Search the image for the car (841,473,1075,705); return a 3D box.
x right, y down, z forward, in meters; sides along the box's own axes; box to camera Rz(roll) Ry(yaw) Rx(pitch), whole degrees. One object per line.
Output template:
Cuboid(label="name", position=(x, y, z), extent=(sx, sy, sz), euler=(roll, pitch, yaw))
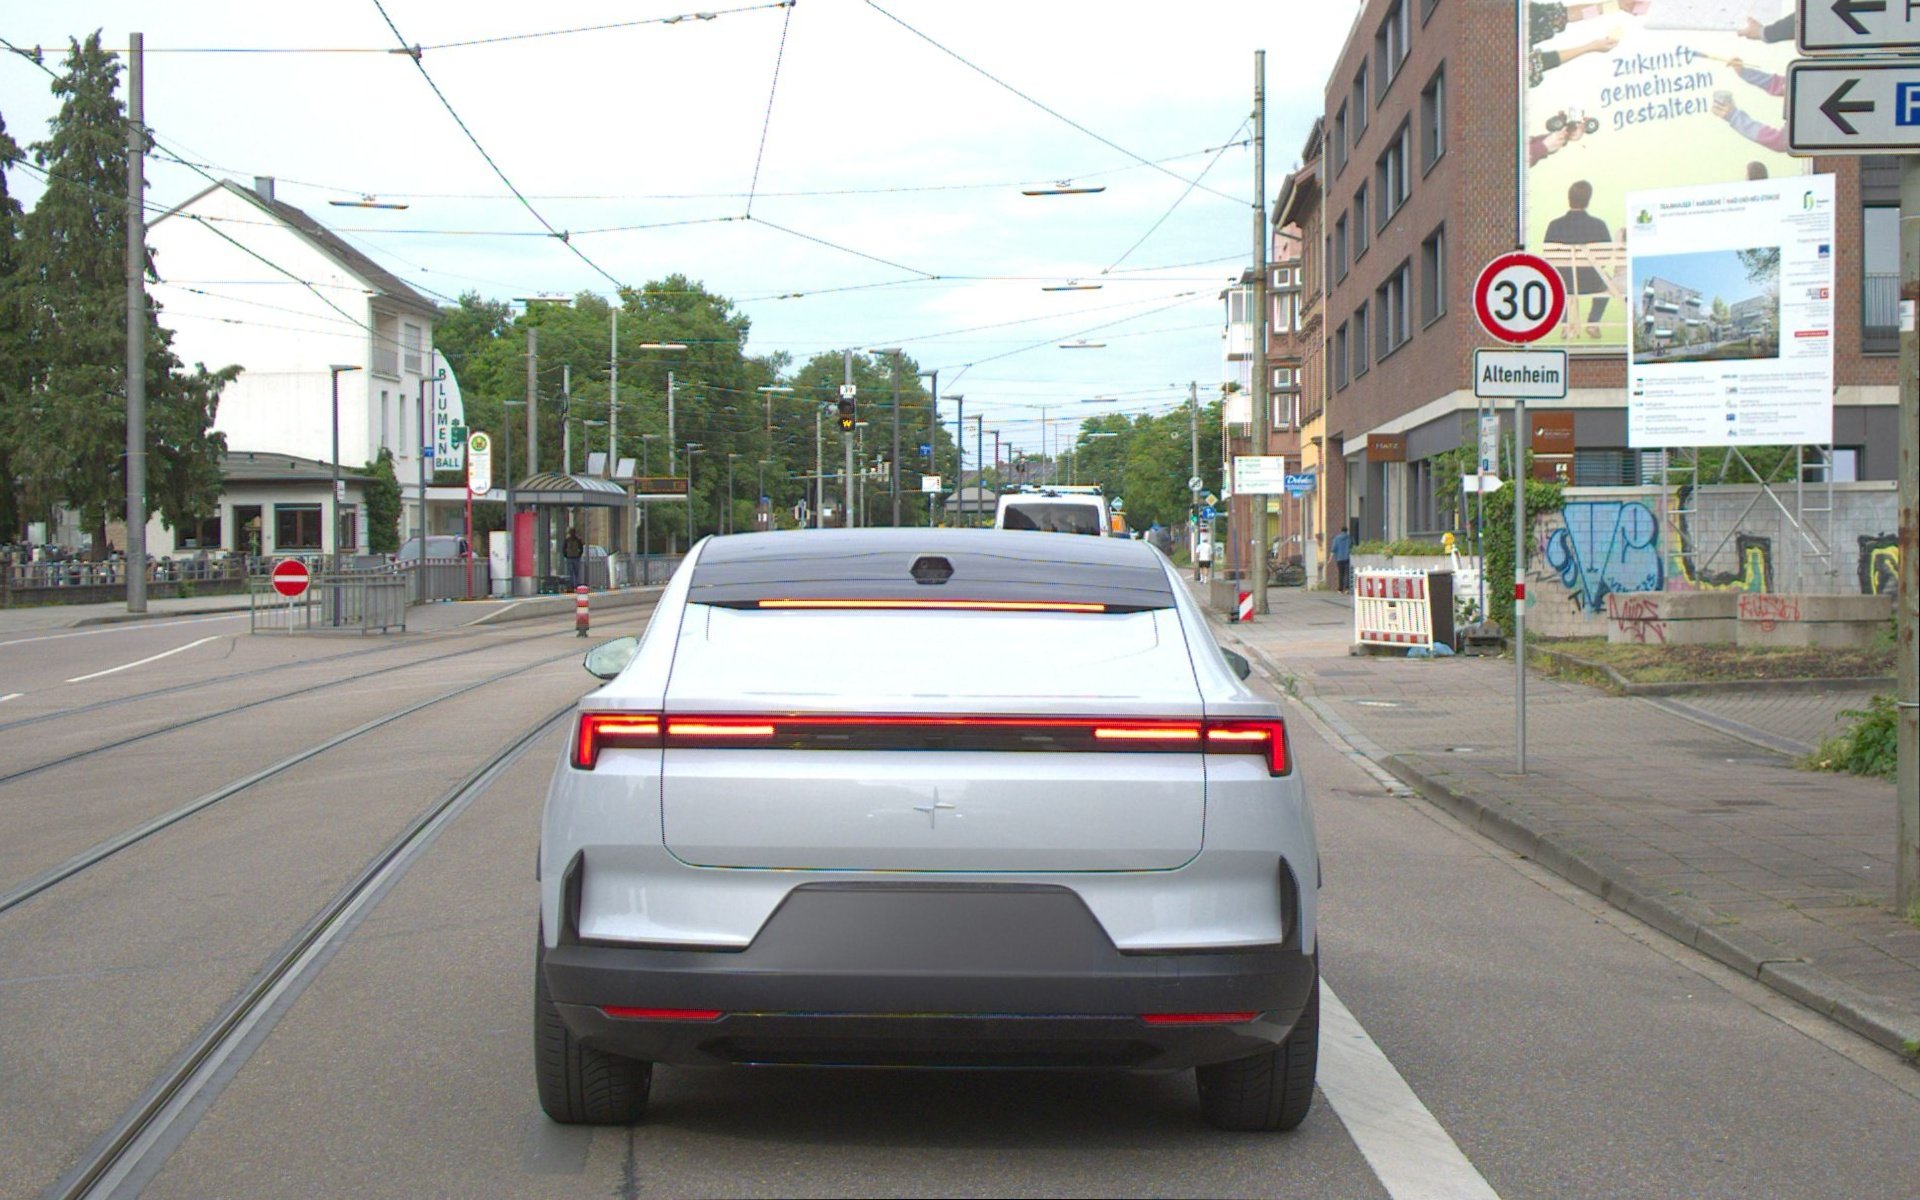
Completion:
Cuboid(label="car", position=(-0.085, -0.114, 32.371), extent=(1.993, 2.007, 4.000), euler=(1, 0, -3))

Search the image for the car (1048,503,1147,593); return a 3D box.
Cuboid(label="car", position=(3.417, -1.281, 86.230), extent=(2.139, 2.138, 4.744), euler=(1, 0, -2))

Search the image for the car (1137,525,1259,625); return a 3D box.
Cuboid(label="car", position=(4.485, -0.475, 65.288), extent=(1.874, 1.817, 4.097), euler=(1, 0, -2))

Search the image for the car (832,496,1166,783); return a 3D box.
Cuboid(label="car", position=(0.172, 0.234, 23.301), extent=(1.968, 1.750, 3.838), euler=(1, 0, -3))

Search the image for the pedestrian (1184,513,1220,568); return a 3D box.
Cuboid(label="pedestrian", position=(8.938, -2.211, 126.844), extent=(1.219, 2.007, 0.934), euler=(-1, 1, -1))

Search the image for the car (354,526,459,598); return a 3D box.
Cuboid(label="car", position=(-13.804, -0.941, 85.918), extent=(1.744, 1.735, 4.000), euler=(1, 0, 3))

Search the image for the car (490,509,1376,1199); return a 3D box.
Cuboid(label="car", position=(-0.222, 0.551, 9.882), extent=(1.981, 1.544, 4.184), euler=(1, 1, -5))

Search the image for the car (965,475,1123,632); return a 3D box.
Cuboid(label="car", position=(1.323, -0.747, 56.388), extent=(2.216, 2.415, 4.952), euler=(1, 0, -2))
